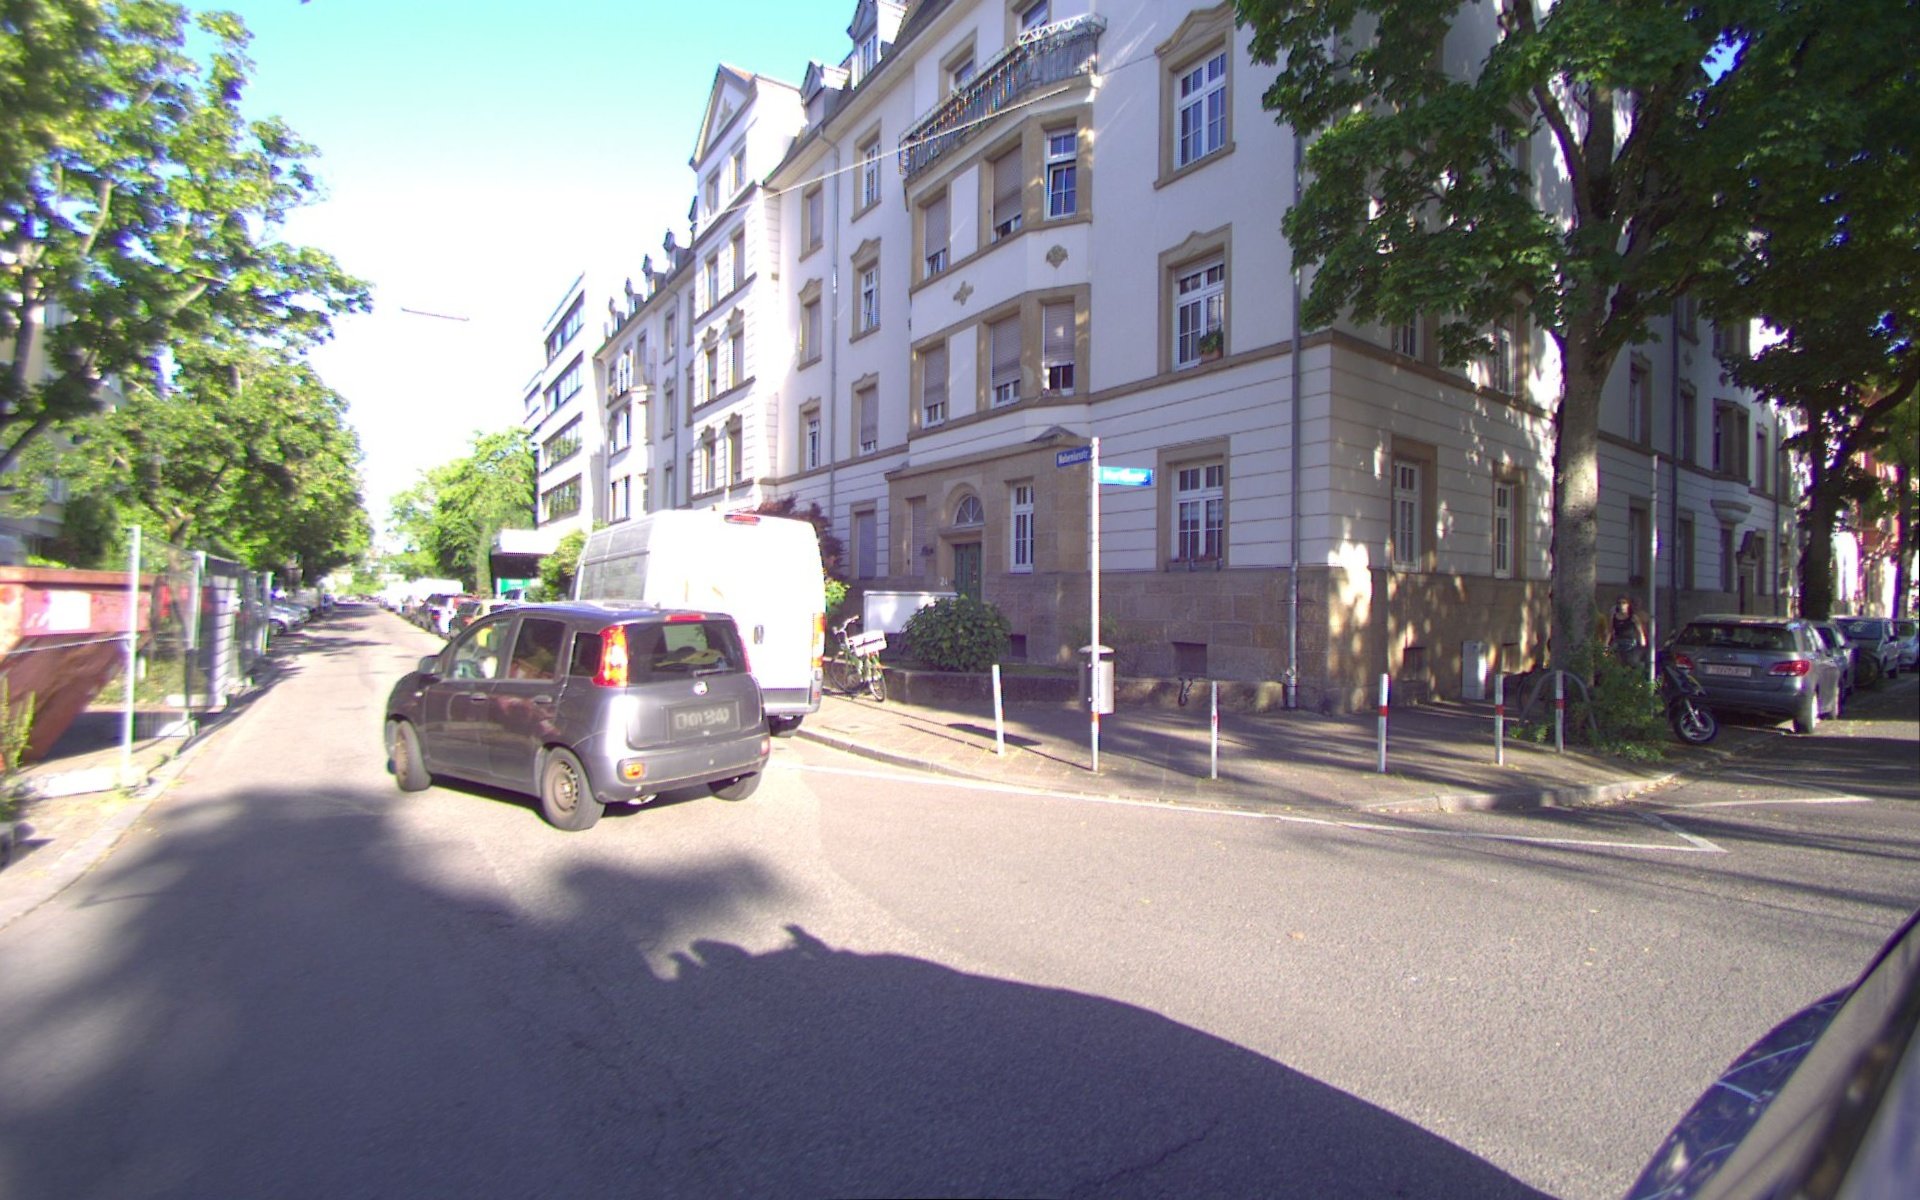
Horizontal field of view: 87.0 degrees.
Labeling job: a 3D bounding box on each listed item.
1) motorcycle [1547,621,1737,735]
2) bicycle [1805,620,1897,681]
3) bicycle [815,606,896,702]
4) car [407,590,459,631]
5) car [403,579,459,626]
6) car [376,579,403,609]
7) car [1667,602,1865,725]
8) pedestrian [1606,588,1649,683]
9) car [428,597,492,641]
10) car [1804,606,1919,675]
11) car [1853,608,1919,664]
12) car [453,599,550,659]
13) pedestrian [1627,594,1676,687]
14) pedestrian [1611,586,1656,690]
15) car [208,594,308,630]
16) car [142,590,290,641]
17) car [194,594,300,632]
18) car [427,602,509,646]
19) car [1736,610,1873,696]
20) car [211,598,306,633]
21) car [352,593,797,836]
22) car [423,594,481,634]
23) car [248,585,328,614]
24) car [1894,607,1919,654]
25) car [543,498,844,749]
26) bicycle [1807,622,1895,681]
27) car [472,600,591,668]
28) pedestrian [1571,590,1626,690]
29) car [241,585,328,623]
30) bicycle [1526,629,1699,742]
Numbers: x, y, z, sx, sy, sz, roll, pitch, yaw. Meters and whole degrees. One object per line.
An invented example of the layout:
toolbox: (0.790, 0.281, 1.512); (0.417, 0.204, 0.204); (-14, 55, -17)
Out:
motorcycle: (8.562, 0.936, 12.769); (0.667, 1.228, 1.852); (3, 0, -43)
bicycle: (18.619, 1.035, 21.164); (0.330, 1.210, 1.412); (1, -1, -43)
bicycle: (-1.559, 0.742, 14.857); (0.625, 1.307, 1.874); (0, 0, -24)
car: (-23.761, 0.443, 45.568); (1.769, 1.789, 4.149); (0, 0, -32)
car: (-26.556, 0.107, 50.721); (2.097, 2.223, 5.342); (0, 0, -32)
car: (-49.556, -0.529, 87.895); (1.960, 2.484, 4.004); (0, 0, -30)
car: (12.117, 0.847, 15.119); (4.063, 1.559, 1.683); (1, 0, -42)
pedestrian: (13.366, 0.693, 20.258); (0.694, 1.868, 0.528); (1, -1, -40)
car: (-18.469, 0.650, 37.323); (1.754, 1.527, 4.222); (0, 0, -31)
car: (22.057, 0.920, 24.677); (3.930, 1.552, 1.638); (1, -1, -41)
car: (26.411, 0.955, 28.313); (3.930, 1.460, 1.649); (1, -1, -41)
car: (-12.792, 0.748, 28.086); (1.755, 1.527, 4.219); (0, 0, -34)
pedestrian: (14.215, 0.811, 20.795); (0.704, 1.868, 0.827); (-1, -1, 44)
pedestrian: (11.422, 0.632, 17.172); (0.508, 1.740, 0.519); (1, -1, -43)
car: (-33.815, 0.549, 48.833); (3.924, 1.683, 1.727); (0, 0, -35)
car: (-26.156, 0.553, 35.766); (4.103, 1.669, 1.999); (0, -3, -35)
car: (-32.674, 0.563, 46.463); (3.924, 1.683, 1.727); (0, 0, -35)
car: (-15.907, 0.730, 32.623); (1.755, 1.316, 4.219); (0, 0, -34)
car: (16.012, 0.909, 19.116); (1.723, 1.425, 3.794); (1, 0, 44)
car: (-35.604, 0.763, 51.442); (3.924, 1.683, 1.727); (0, 0, -35)
car: (-3.112, 0.718, 7.968); (3.509, 1.502, 1.618); (0, -1, 35)
car: (-20.760, 0.528, 41.252); (1.754, 1.527, 4.222); (0, 0, -32)
car: (-40.418, -0.013, 60.894); (3.925, 1.683, 1.727); (0, 0, -36)
car: (33.135, 1.012, 34.224); (3.930, 1.549, 1.822); (1, -1, -41)
car: (-3.718, 0.223, 13.083); (2.260, 2.499, 5.669); (1, 0, -31)
bicycle: (19.376, 1.105, 22.029); (0.330, 1.210, 1.412); (1, -1, -43)
car: (-10.001, 0.711, 23.446); (1.755, 1.441, 4.219); (0, 0, -34)
pedestrian: (11.225, 0.678, 17.791); (0.804, 1.706, 0.624); (1, -1, -42)
car: (-37.907, 0.221, 56.836); (3.993, 2.039, 2.000); (0, 0, -35)
bicycle: (7.855, 0.988, 12.282); (0.424, 1.176, 1.802); (1, 1, -25)
